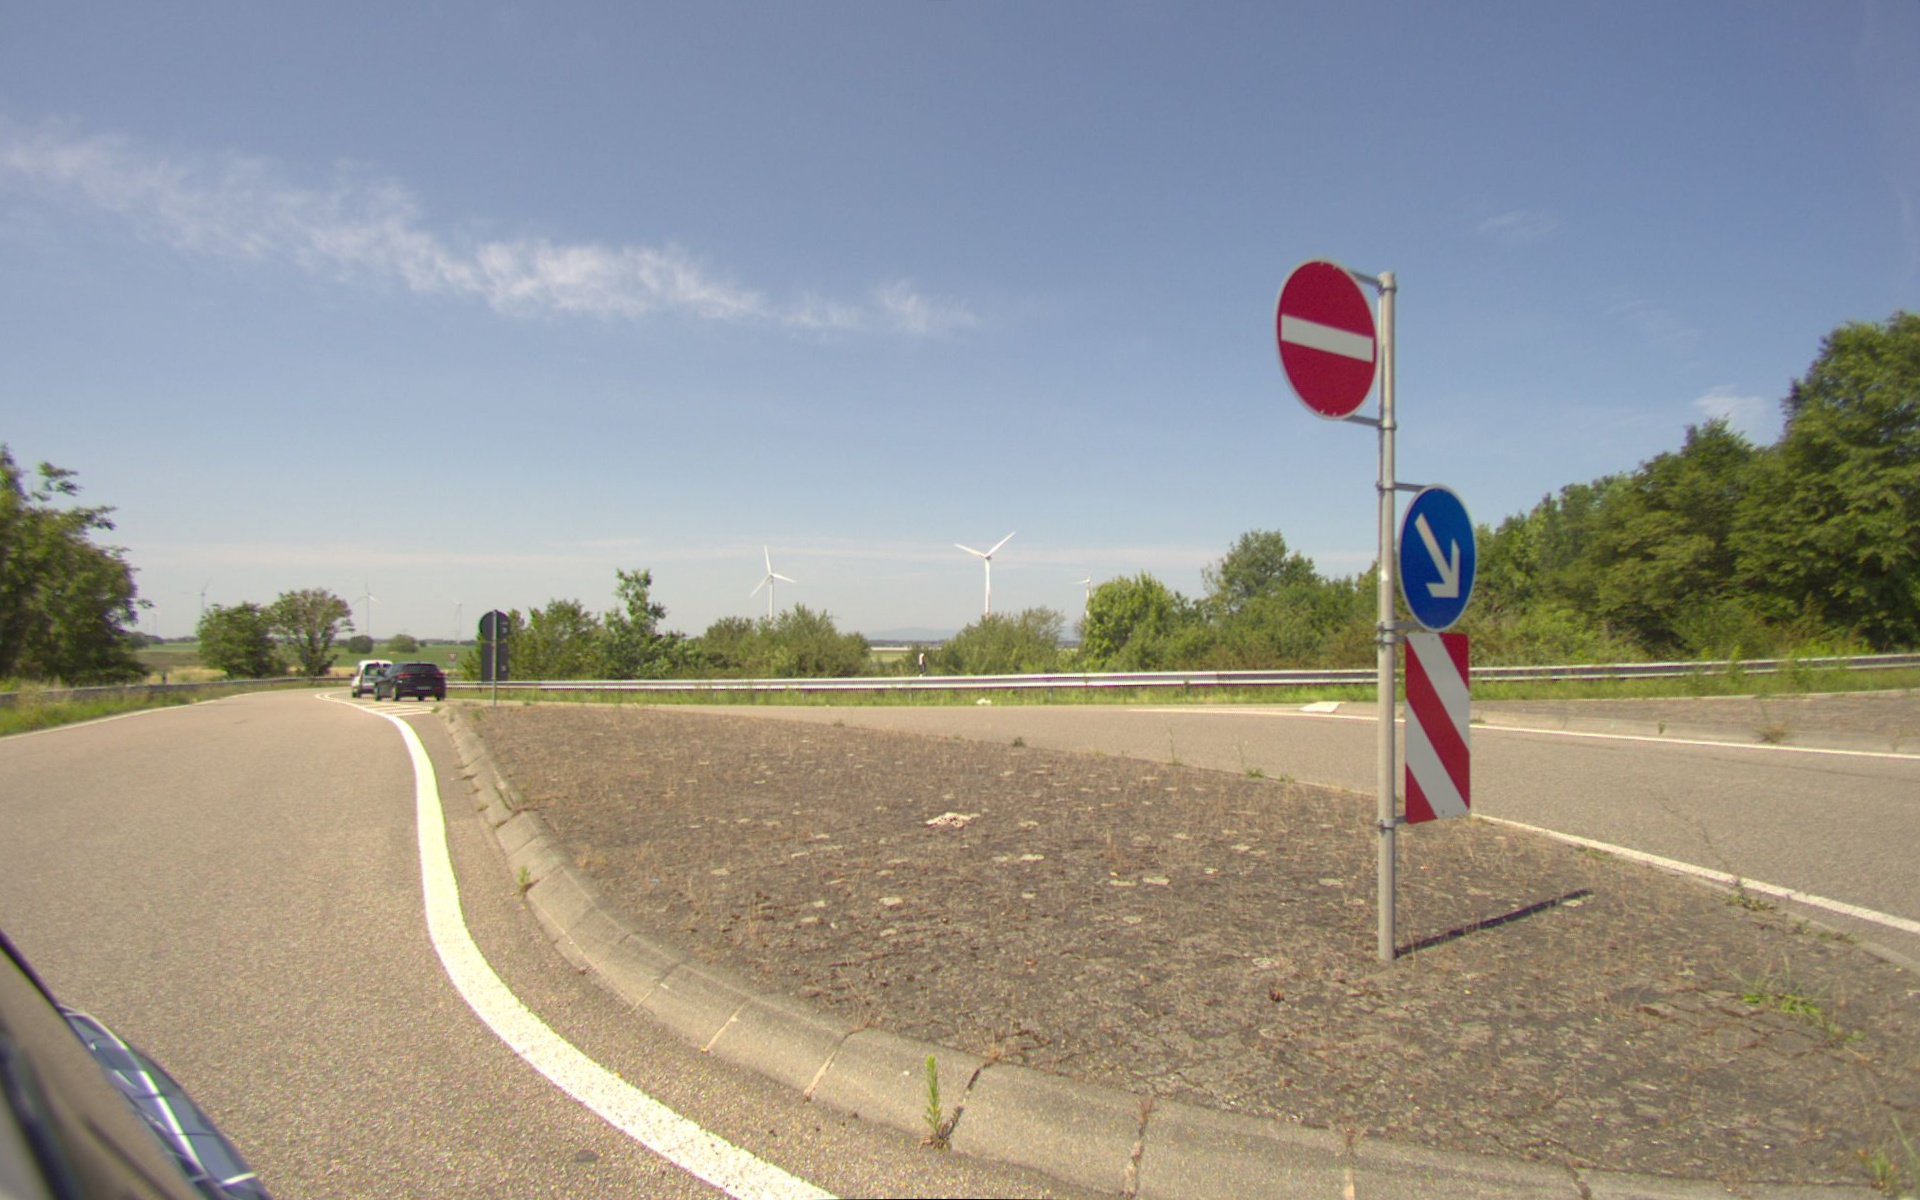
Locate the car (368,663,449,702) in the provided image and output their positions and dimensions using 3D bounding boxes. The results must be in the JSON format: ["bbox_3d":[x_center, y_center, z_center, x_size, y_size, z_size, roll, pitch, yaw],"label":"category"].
[{"bbox_3d":[-20.675,3.115,37.881,1.688,1.406,3.890,5,-7,-44],"label":"car"}]

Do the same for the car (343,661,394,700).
[{"bbox_3d":[-28.798,3.916,49.222,1.713,1.775,4.092,2,-6,-36],"label":"car"}]
